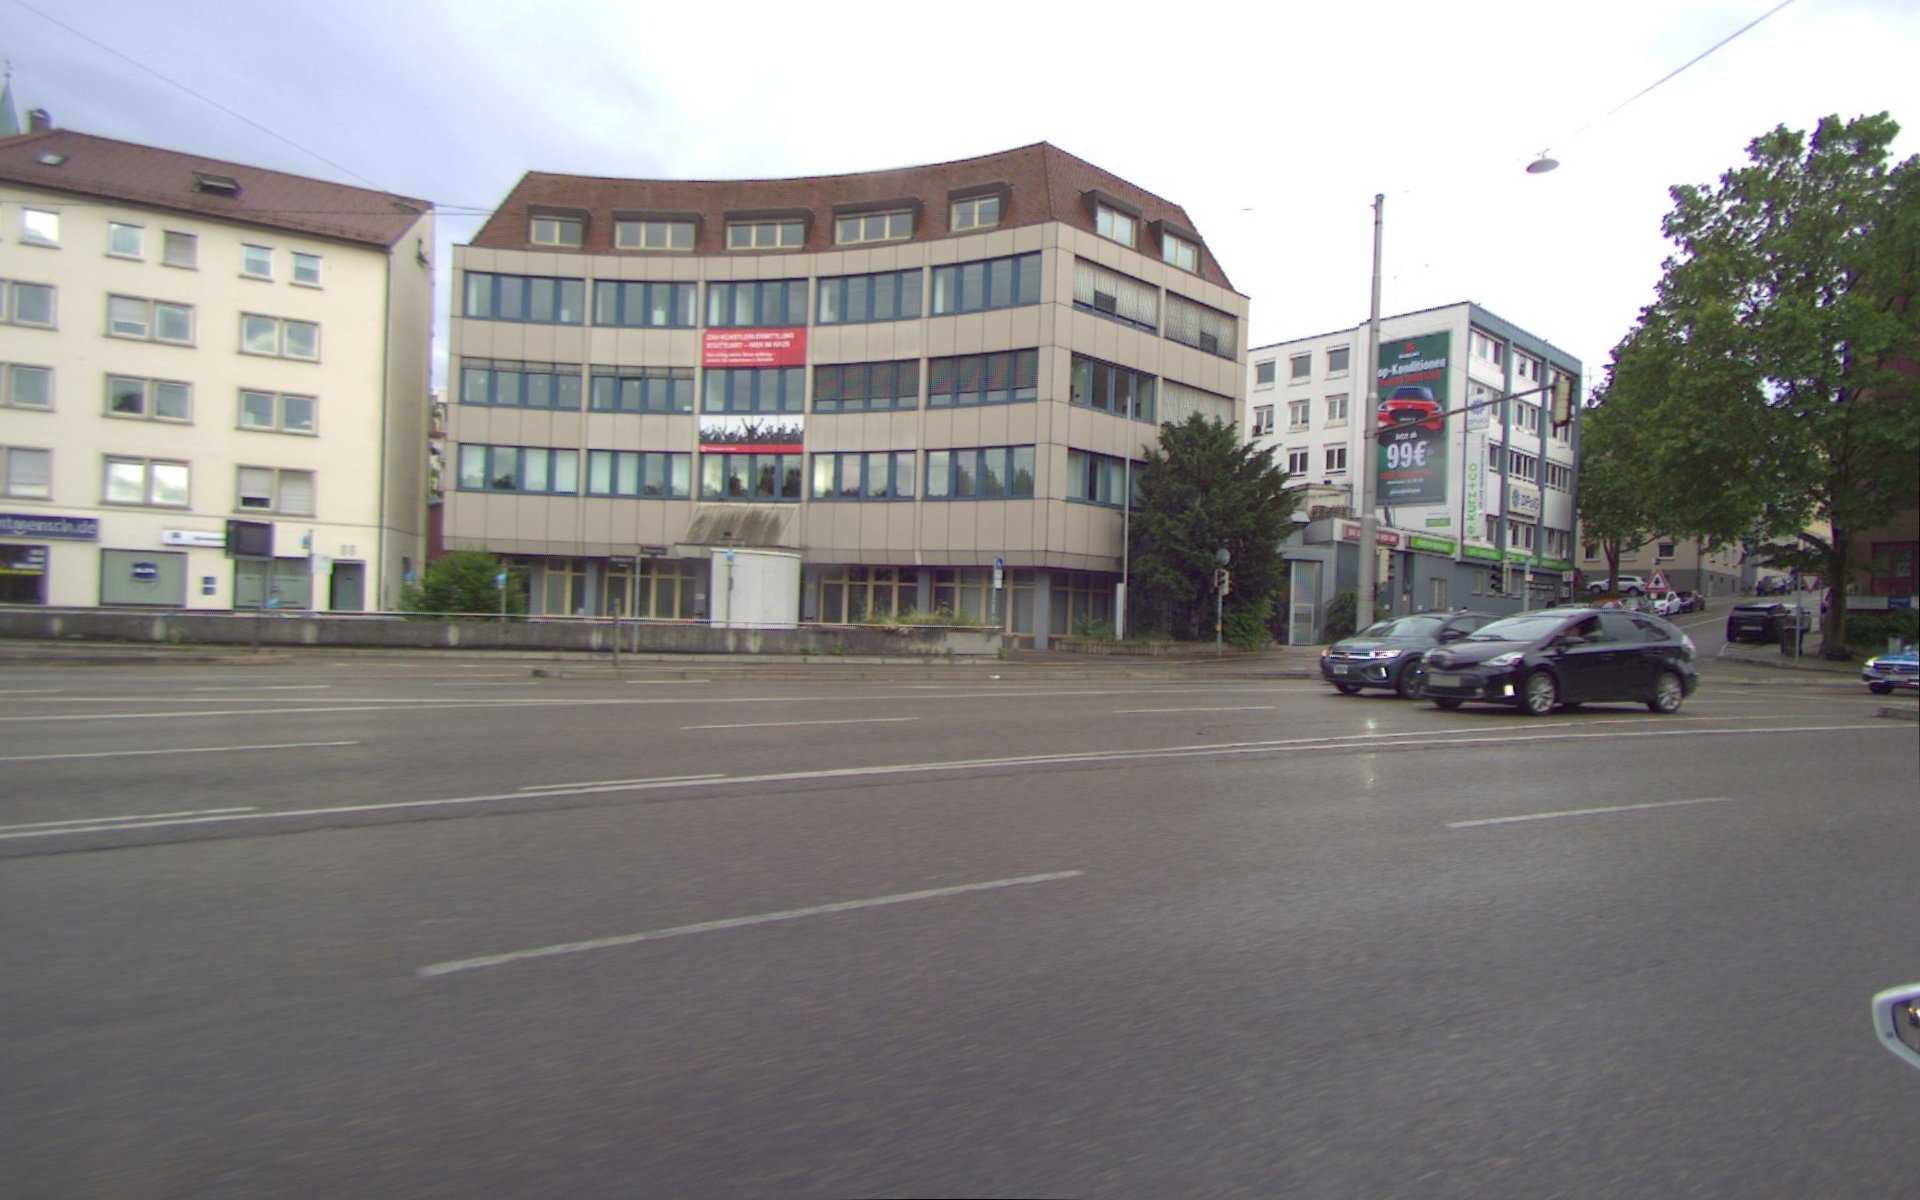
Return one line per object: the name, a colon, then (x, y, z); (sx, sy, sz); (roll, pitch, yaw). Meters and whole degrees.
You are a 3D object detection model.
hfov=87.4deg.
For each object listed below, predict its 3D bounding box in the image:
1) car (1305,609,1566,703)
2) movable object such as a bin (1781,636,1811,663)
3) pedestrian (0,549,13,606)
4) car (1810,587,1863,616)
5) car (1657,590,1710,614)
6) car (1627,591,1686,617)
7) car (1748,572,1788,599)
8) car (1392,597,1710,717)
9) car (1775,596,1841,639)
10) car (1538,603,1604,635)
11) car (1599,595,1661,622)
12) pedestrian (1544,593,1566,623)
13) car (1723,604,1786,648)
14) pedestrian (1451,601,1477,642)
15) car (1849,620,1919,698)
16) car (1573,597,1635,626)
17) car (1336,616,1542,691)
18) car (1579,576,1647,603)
car: (8.637, 1.010, 18.313); (4.165, 1.532, 1.817); (2, -1, -17)
movable object such as a bin: (32.886, 1.956, 39.525); (0.775, 1.009, 0.873); (1, -1, 30)
pedestrian: (-34.881, -0.827, 36.365); (0.669, 2.040, 0.563); (2, -1, -30)
car: (54.917, 0.066, 62.902); (3.967, 1.697, 1.914); (-1, 1, -40)
car: (48.352, 0.111, 67.076); (4.032, 1.450, 1.819); (-3, 2, -38)
car: (44.465, 0.227, 64.125); (4.029, 1.450, 1.821); (-3, 2, -35)
car: (67.397, -1.163, 83.772); (3.971, 2.040, 1.975); (3, -1, -42)
car: (9.111, 0.883, 15.489); (4.524, 1.643, 1.851); (2, -2, -21)
car: (43.083, 0.845, 51.002); (3.966, 1.893, 1.914); (-4, 3, -40)
car: (33.328, 0.981, 54.735); (4.142, 1.483, 1.818); (-3, 2, -40)
car: (40.871, 0.483, 61.243); (4.029, 1.450, 1.821); (-3, 2, -35)
pedestrian: (35.420, 0.480, 59.823); (0.974, 1.740, 0.832); (3, -1, -40)
car: (37.507, 1.175, 47.387); (1.910, 1.893, 3.975); (3, 2, 44)
pedestrian: (25.669, 1.078, 51.117); (0.974, 2.040, 0.832); (3, -1, -40)
car: (23.090, 1.388, 23.094); (4.514, 1.704, 1.767); (2, -1, -15)
car: (37.504, 0.655, 58.488); (4.033, 1.450, 1.819); (-3, 2, -38)
car: (10.780, 1.195, 22.652); (4.055, 1.532, 1.761); (2, -1, -17)
car: (53.902, -0.867, 82.941); (1.987, 2.033, 4.373); (3, -2, -44)
